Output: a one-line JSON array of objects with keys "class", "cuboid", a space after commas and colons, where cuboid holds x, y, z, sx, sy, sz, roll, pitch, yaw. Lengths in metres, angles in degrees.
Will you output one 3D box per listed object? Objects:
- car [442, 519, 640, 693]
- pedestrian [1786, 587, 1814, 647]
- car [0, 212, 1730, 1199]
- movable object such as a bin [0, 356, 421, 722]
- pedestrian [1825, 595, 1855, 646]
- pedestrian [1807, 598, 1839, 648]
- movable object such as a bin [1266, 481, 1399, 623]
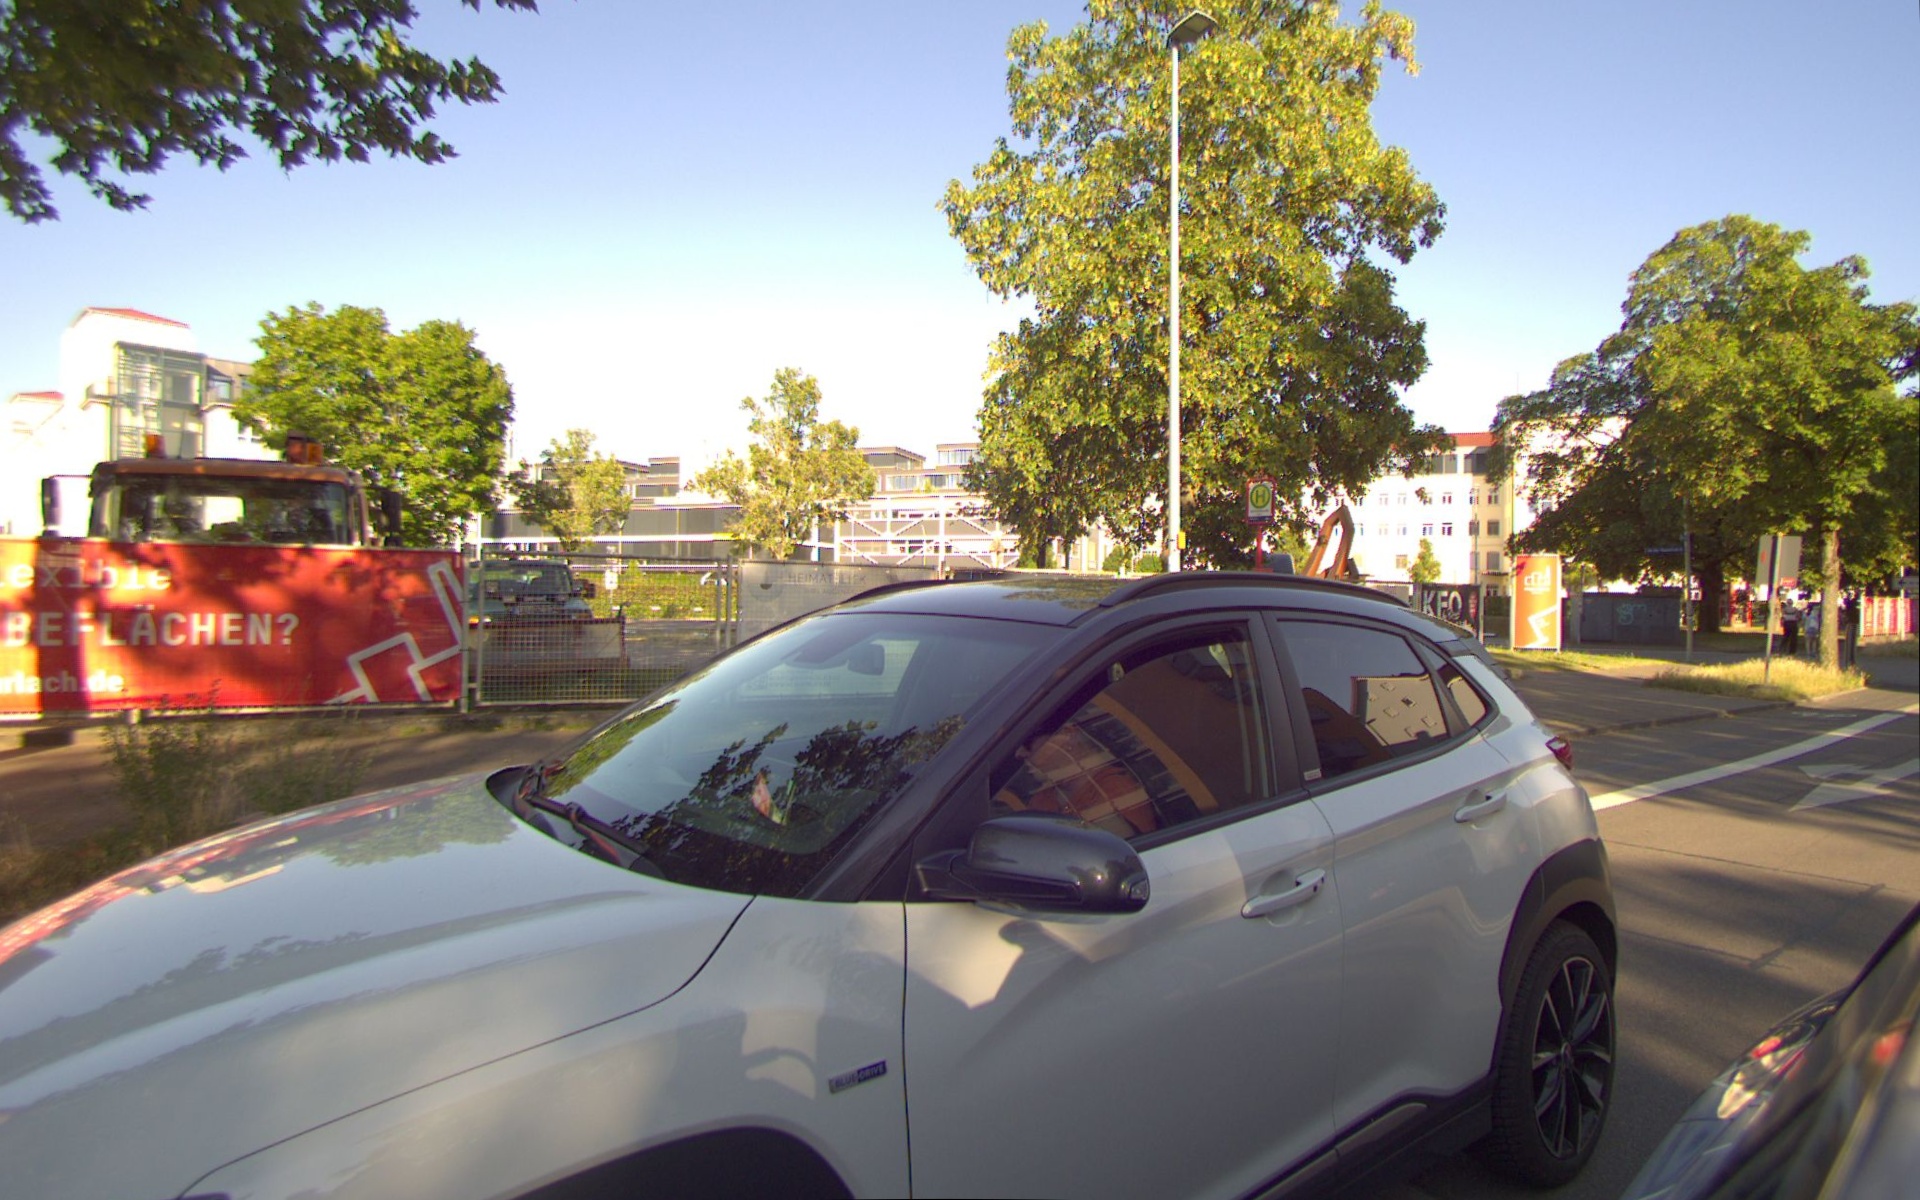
[{"class": "car", "cuboid": [-5.660, 0.044, 13.299, 2.001, 1.851, 4.612, 0, 0, -28]}, {"class": "pedestrian", "cuboid": [25.289, 0.500, 30.478, 0.607, 1.759, 0.629, 0, 0, 44]}, {"class": "car", "cuboid": [0.077, 0.627, 2.367, 3.893, 1.618, 1.894, 3, -2, -39]}, {"class": "movable object such as a bin", "cuboid": [-8.384, -0.548, 12.060, 3.154, 3.087, 6.295, 0, 0, -31]}, {"class": "pedestrian", "cuboid": [29.284, 0.676, 33.682, 0.692, 1.689, 0.630, 0, 0, 38]}, {"class": "pedestrian", "cuboid": [25.306, 0.659, 29.682, 0.627, 1.452, 0.609, 0, 0, -40]}, {"class": "movable object such as a bin", "cuboid": [15.530, -1.884, 42.767, 3.910, 5.547, 6.022, 0, 0, 6]}]
